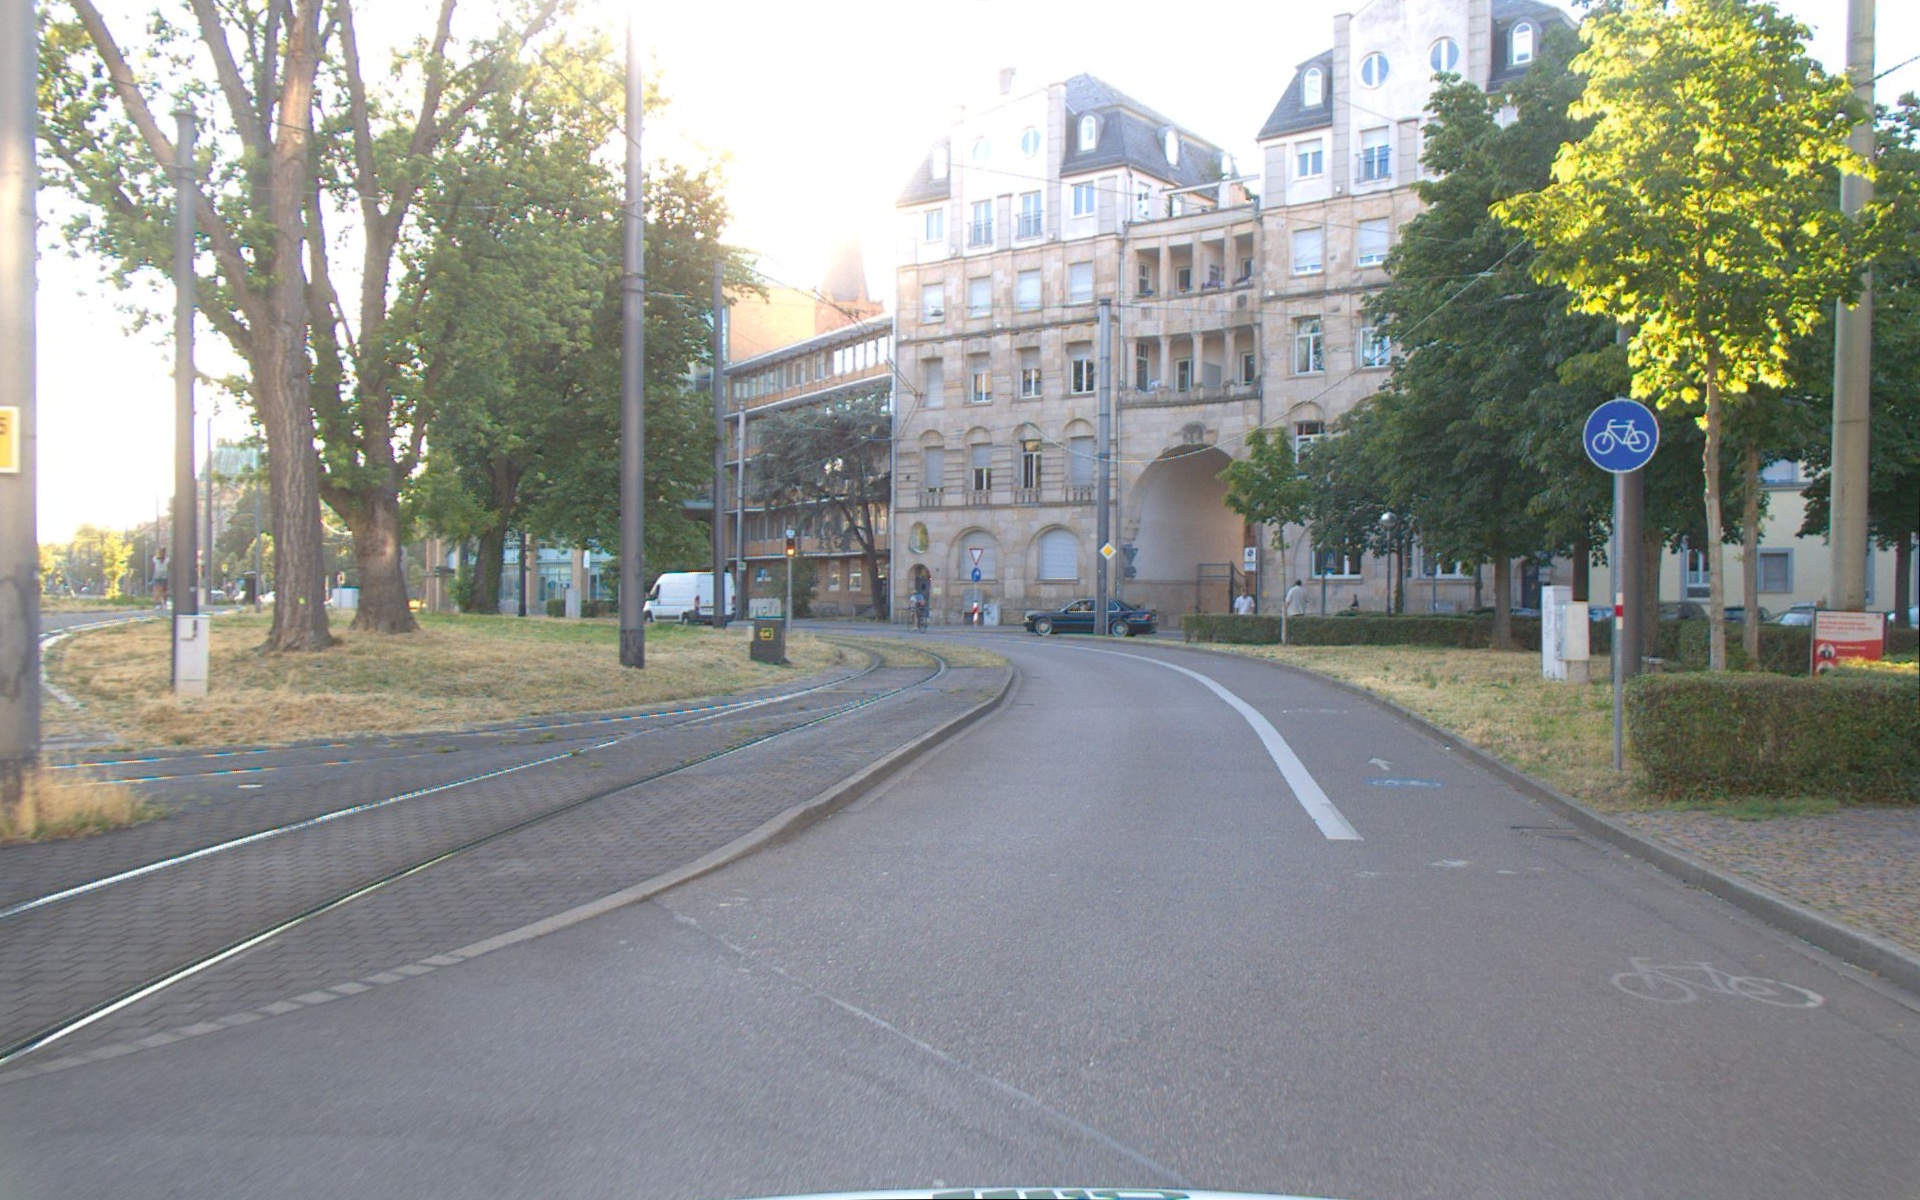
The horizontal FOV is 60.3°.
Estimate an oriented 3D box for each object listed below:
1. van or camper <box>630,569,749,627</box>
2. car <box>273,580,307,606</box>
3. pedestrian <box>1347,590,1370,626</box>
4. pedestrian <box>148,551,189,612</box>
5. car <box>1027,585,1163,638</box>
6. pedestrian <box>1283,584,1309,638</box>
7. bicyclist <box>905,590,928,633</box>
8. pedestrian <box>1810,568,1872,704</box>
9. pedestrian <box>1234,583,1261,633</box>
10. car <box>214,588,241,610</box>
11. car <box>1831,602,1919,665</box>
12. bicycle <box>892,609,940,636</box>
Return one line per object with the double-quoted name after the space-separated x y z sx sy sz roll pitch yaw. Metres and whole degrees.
-12.322 -0.135 74.983 2.590 2.515 6.231 0 1 -39 "van or camper"
-53.923 -0.575 133.105 2.115 2.049 3.962 1 1 -29 "car"
15.500 0.308 64.304 0.674 1.392 0.632 1 0 39 "pedestrian"
-21.277 -0.497 44.458 0.623 1.634 0.772 0 1 18 "pedestrian"
4.873 0.393 59.682 4.653 1.792 1.822 1 0 14 "car"
9.716 0.303 47.841 0.620 1.537 0.687 1 0 19 "pedestrian"
-1.698 0.449 64.430 0.507 1.671 0.762 0 0 -45 "bicyclist"
13.624 0.541 25.580 0.640 2.049 0.812 1 0 43 "pedestrian"
8.987 0.240 51.697 0.582 1.537 0.684 1 0 37 "pedestrian"
-71.231 -0.067 160.775 2.115 2.049 3.962 1 1 -29 "car"
23.043 0.791 39.707 4.271 1.451 1.842 0 -1 -31 "car"
-1.727 0.852 64.454 0.507 0.995 2.205 0 0 -45 "bicycle"
